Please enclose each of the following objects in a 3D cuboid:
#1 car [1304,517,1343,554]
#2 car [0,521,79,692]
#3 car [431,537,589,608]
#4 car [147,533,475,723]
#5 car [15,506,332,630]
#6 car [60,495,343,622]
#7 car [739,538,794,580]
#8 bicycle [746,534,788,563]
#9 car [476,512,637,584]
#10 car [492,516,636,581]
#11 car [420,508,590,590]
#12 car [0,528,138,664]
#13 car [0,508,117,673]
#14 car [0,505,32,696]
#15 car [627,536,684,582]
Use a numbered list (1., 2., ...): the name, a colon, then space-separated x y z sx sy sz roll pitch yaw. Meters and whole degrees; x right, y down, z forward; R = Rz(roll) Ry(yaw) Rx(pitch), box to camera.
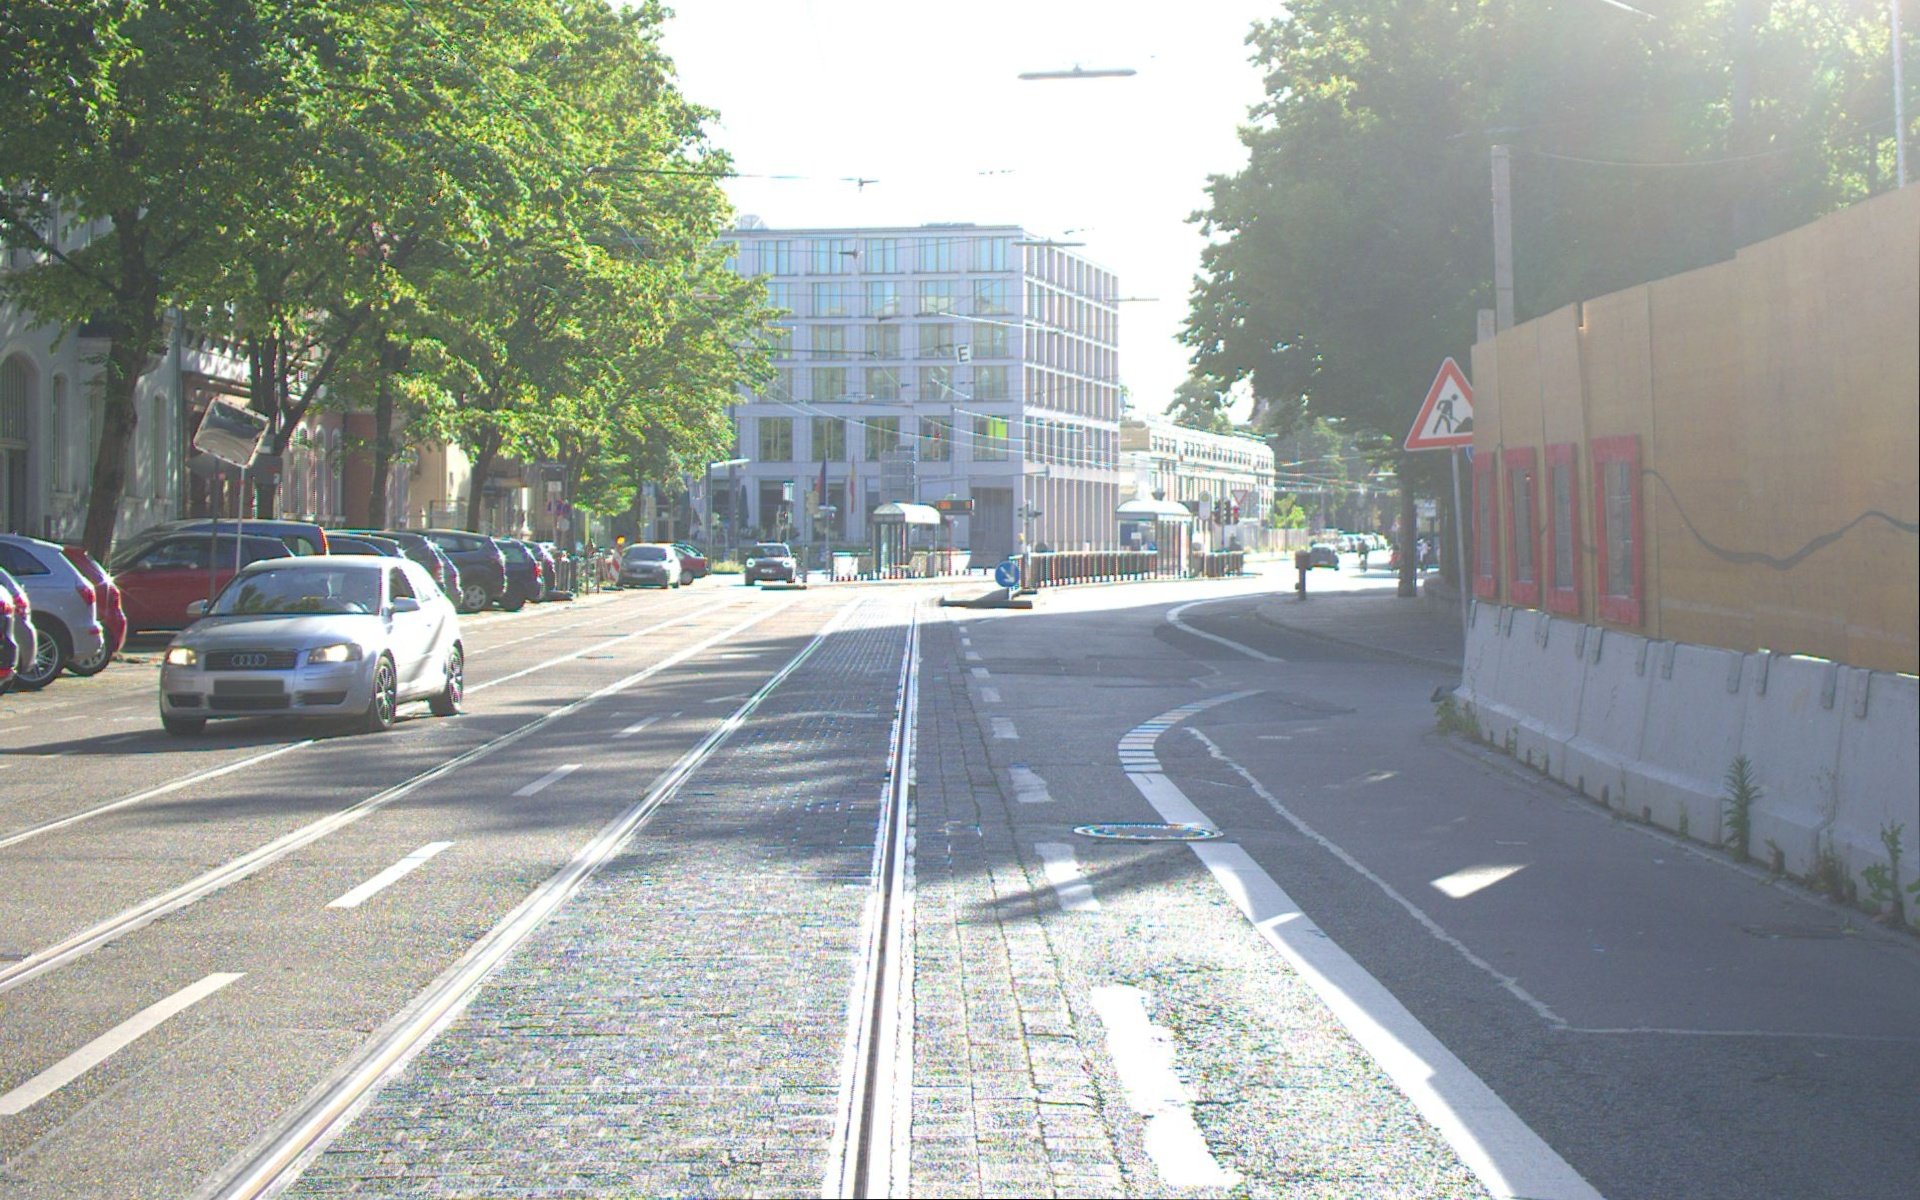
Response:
1. car: 20.198 -3.591 190.916 1.994 2.007 3.999 0 1 9
2. car: -10.637 0.065 33.583 3.555 1.656 1.738 -1 1 -33
3. car: -10.202 -0.637 77.922 3.270 1.579 1.470 -1 1 -22
4. car: -5.282 0.176 28.499 1.709 1.431 4.171 0 1 3
5. car: -11.233 -0.470 49.159 4.159 1.715 1.584 0 1 -27
6. car: -11.513 -0.625 52.224 3.828 1.826 1.732 1 0 -30
7. car: -7.227 -1.548 128.679 1.558 1.525 4.000 0 1 4
8. bicycle: -8.393 -2.249 149.677 1.793 1.219 0.599 0 1 -8
9. car: -8.960 -1.165 76.260 3.270 1.579 1.470 -1 1 -22
10. car: -9.841 -1.290 85.377 3.270 1.579 1.470 -1 2 -22
11. car: -9.602 -1.091 72.549 3.270 1.692 1.470 -1 1 -22
12. car: -11.426 -0.051 39.230 3.674 1.522 1.483 -1 2 -35
13. car: -10.958 -0.100 36.233 3.674 1.715 1.611 -1 2 -35
14. car: -10.386 0.021 30.755 3.674 1.715 1.611 -1 2 -35
15. car: -10.236 -1.395 115.724 1.573 1.485 4.000 0 1 0
